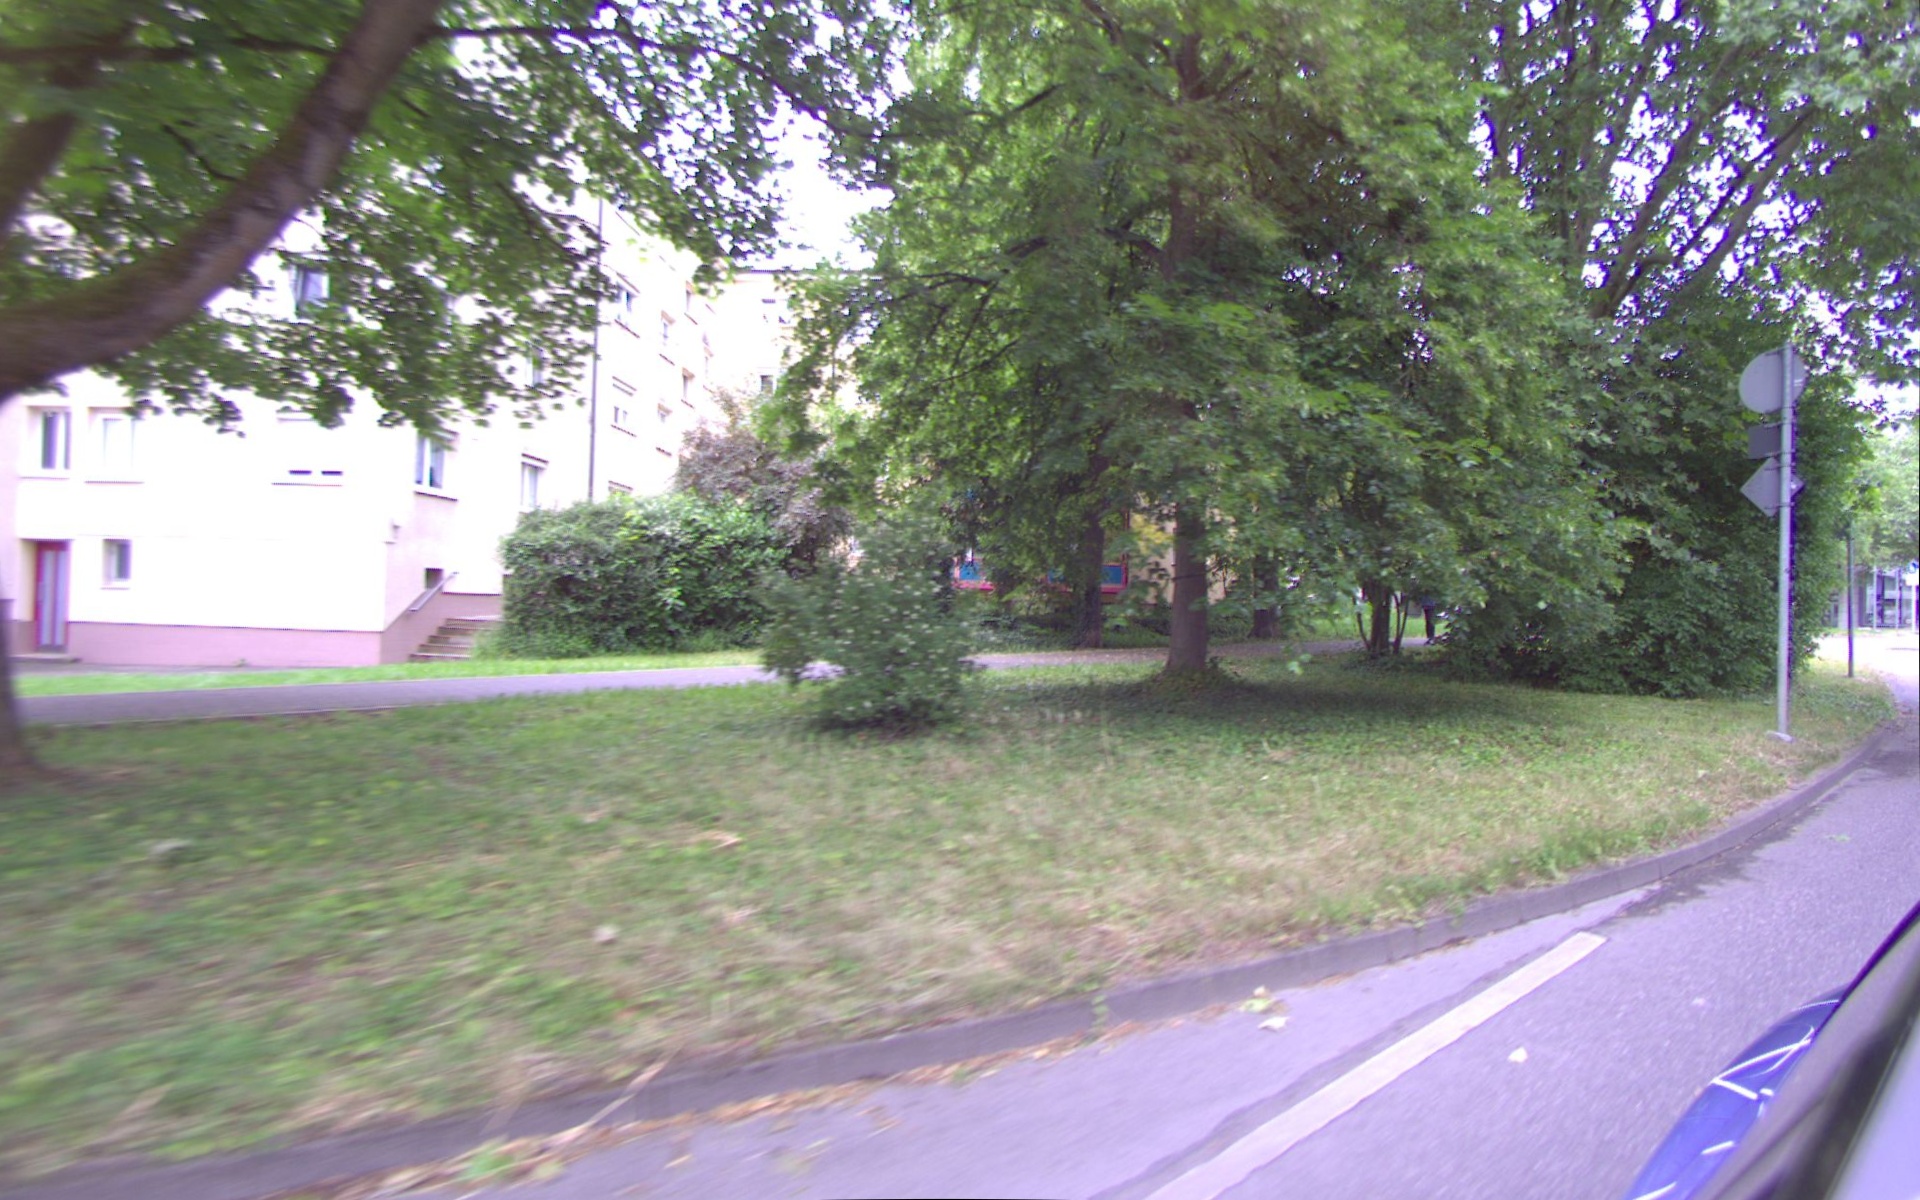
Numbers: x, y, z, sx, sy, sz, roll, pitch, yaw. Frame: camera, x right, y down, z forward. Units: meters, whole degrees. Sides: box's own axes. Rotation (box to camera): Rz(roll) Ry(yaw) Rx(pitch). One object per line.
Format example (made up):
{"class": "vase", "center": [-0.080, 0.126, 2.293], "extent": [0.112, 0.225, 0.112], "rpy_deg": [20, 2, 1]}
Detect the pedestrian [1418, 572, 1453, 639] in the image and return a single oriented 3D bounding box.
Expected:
{"class": "pedestrian", "center": [12.230, 0.133, 26.021], "extent": [0.647, 1.682, 0.641], "rpy_deg": [1, 0, 40]}

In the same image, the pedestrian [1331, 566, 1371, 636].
{"class": "pedestrian", "center": [10.431, 0.031, 26.987], "extent": [0.755, 1.818, 0.883], "rpy_deg": [1, 0, 39]}
